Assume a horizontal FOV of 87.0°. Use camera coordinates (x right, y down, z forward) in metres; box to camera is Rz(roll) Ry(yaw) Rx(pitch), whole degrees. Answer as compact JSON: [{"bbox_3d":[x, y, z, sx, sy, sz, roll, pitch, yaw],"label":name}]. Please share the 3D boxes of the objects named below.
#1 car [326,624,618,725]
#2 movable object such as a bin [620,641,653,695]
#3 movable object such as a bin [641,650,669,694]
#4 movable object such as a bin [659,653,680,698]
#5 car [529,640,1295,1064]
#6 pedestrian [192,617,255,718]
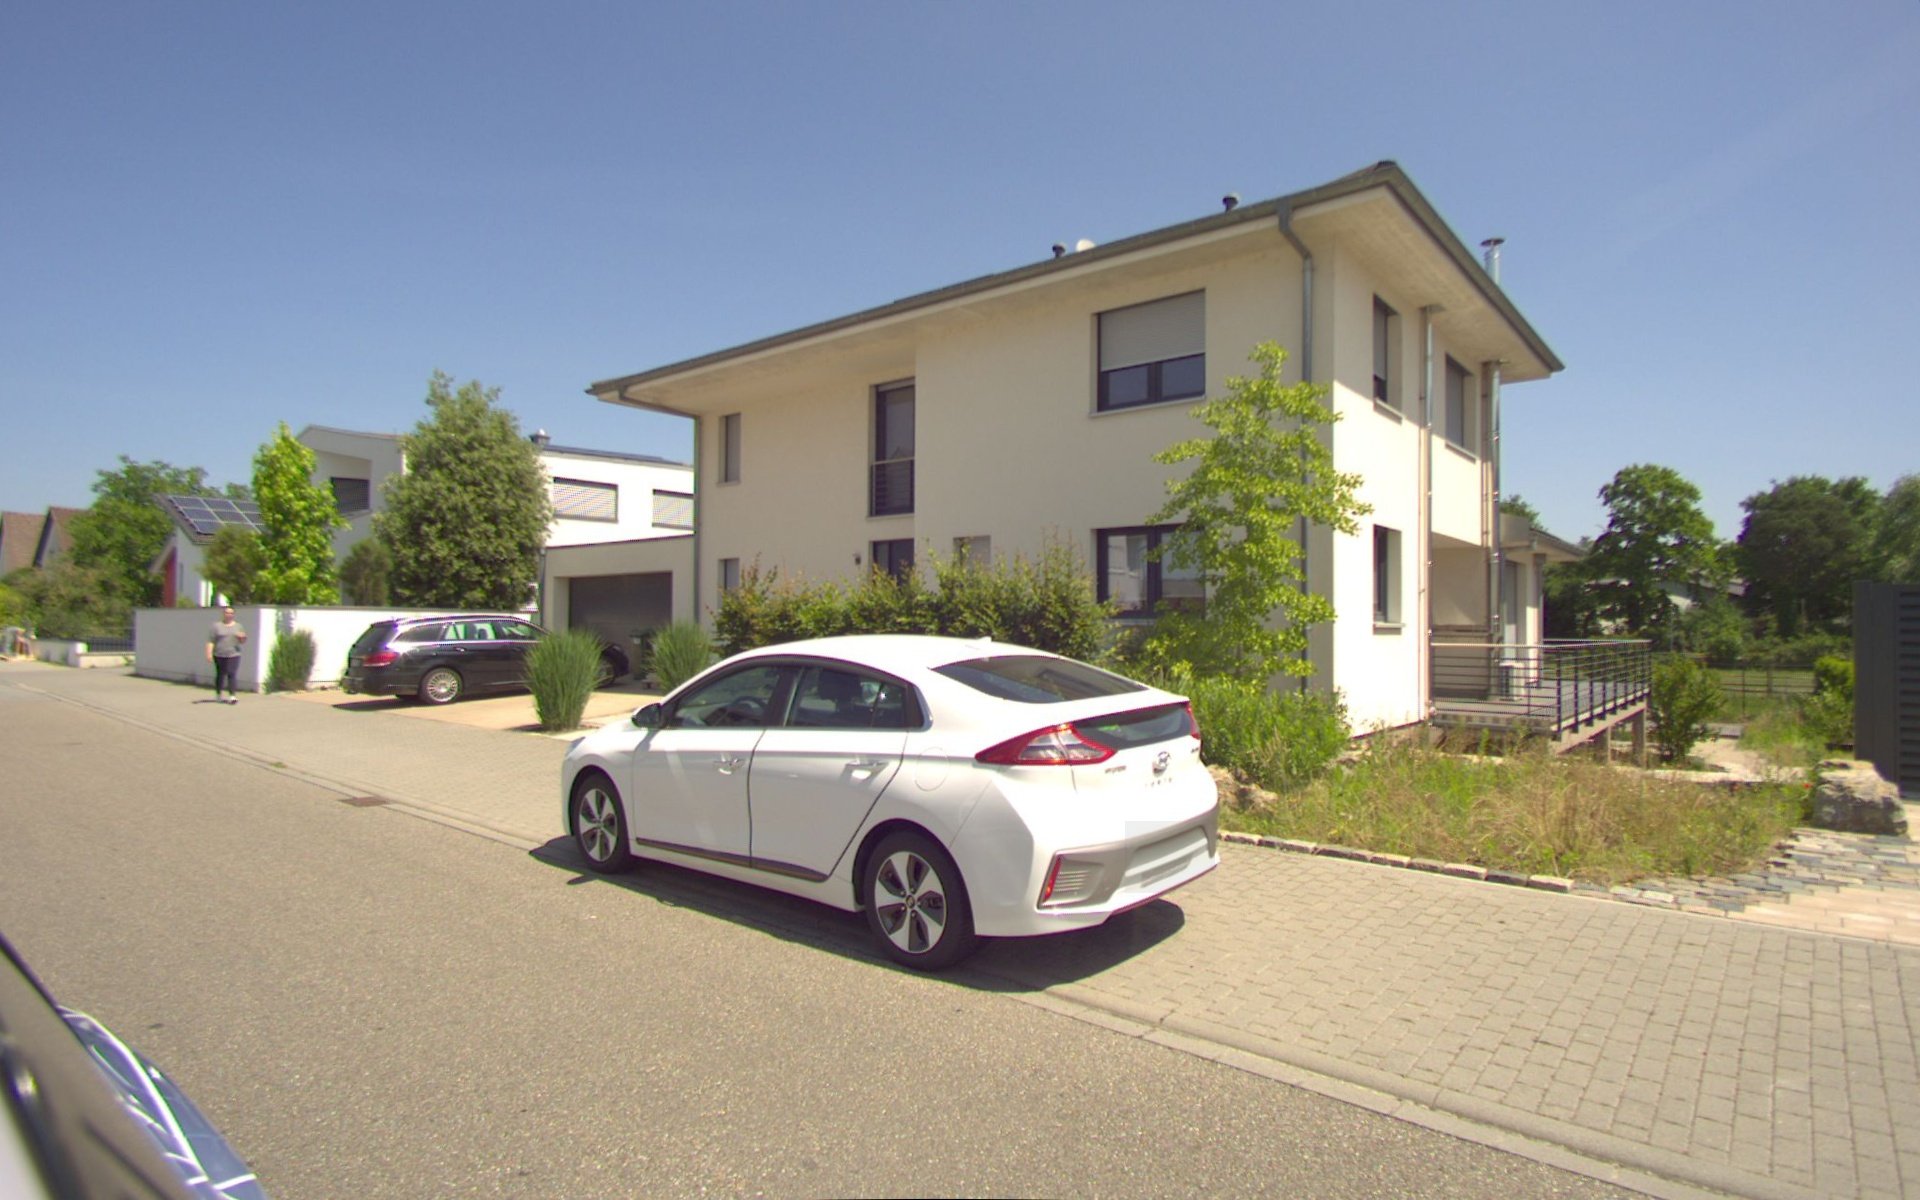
[{"bbox_3d":[-8.691,1.240,18.294,1.851,1.484,4.379,-2,-1,44],"label":"car"},{"bbox_3d":[-6.677,1.393,20.886,0.588,1.081,0.381,-2,-3,34],"label":"movable object such as a bin"},{"bbox_3d":[-6.169,1.450,20.460,0.475,0.890,0.308,-2,-3,34],"label":"movable object such as a bin"},{"bbox_3d":[-5.796,1.498,20.190,0.393,0.890,0.182,-2,-3,34],"label":"movable object such as a bin"},{"bbox_3d":[-0.563,1.006,5.853,4.383,1.499,1.833,-2,-2,41],"label":"car"},{"bbox_3d":[-13.207,1.186,18.138,0.960,1.760,0.707,-2,-2,41],"label":"pedestrian"}]
